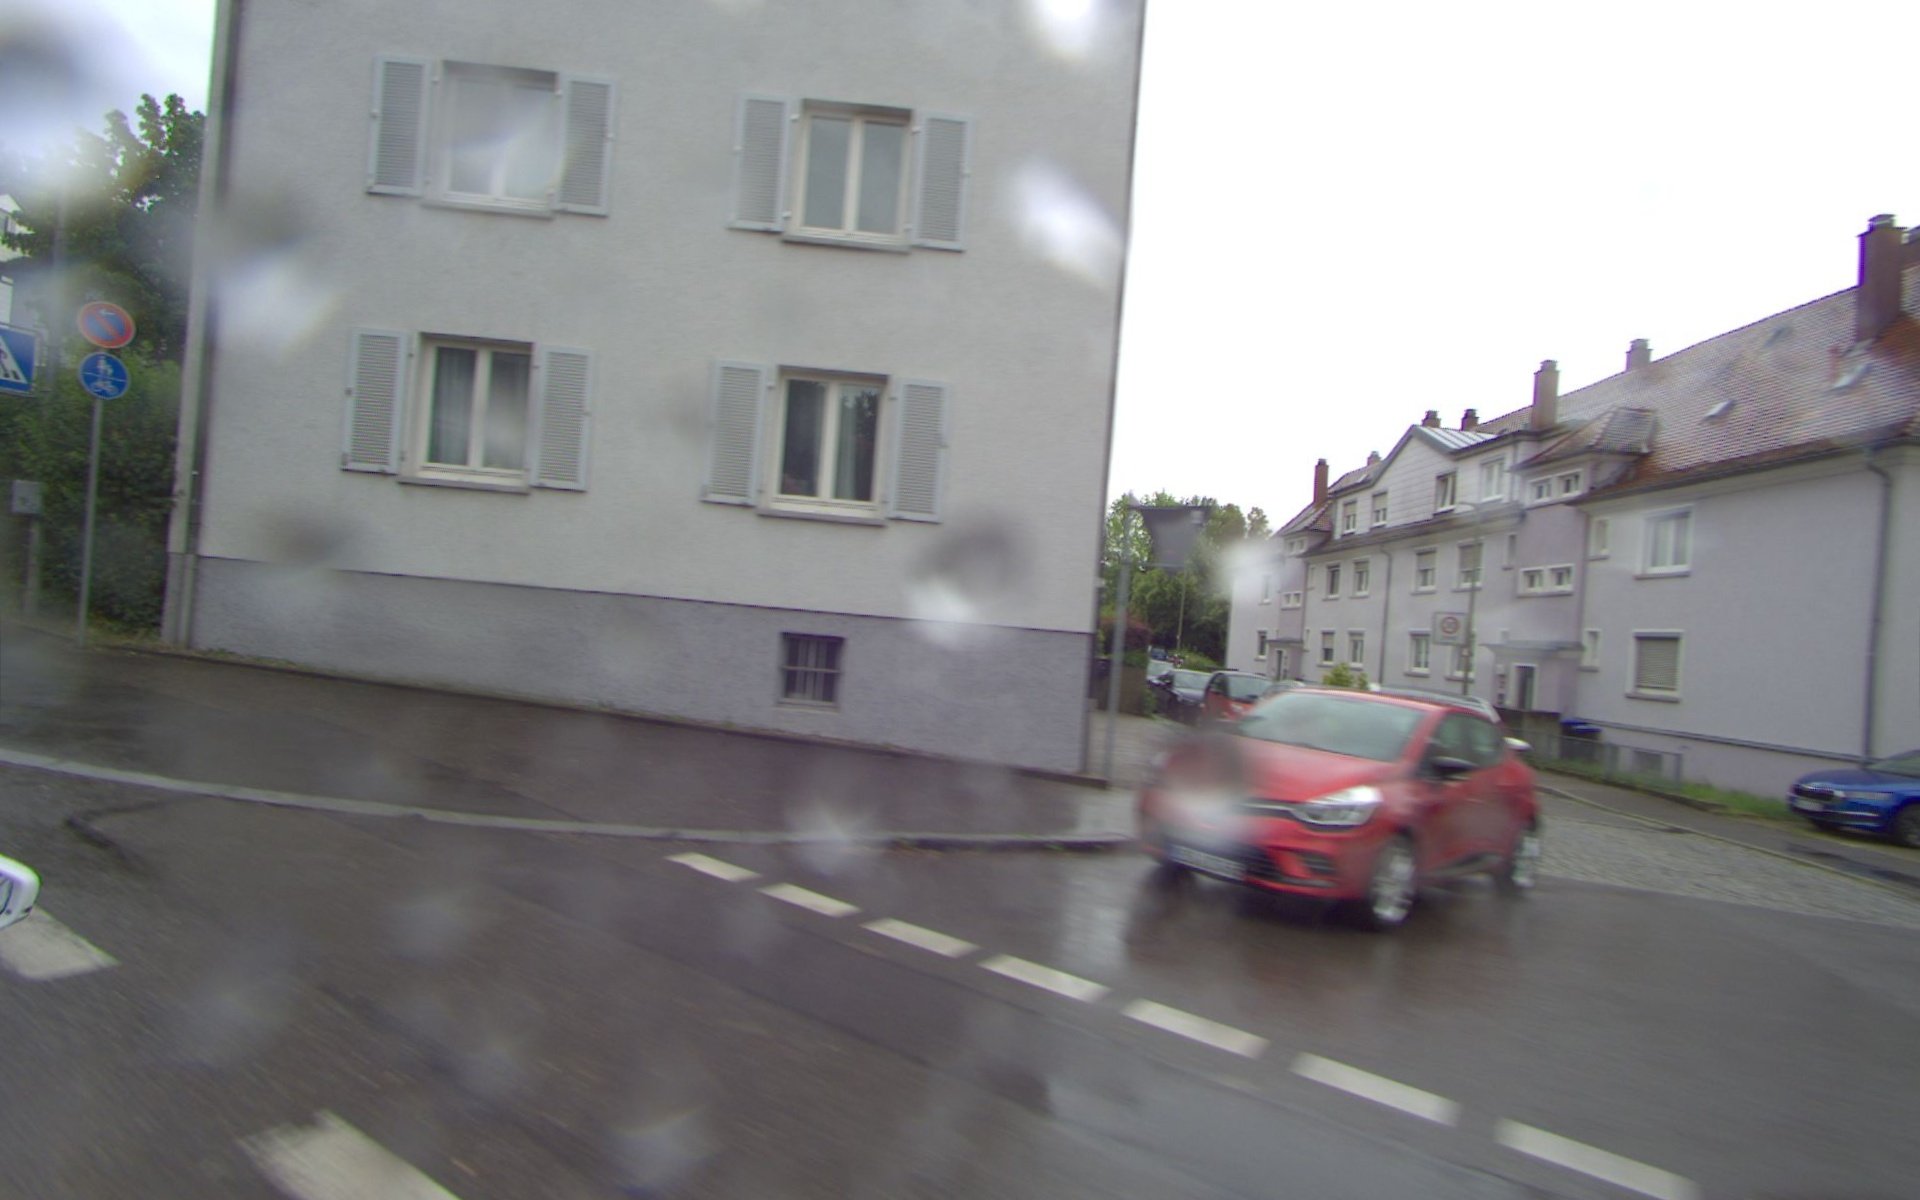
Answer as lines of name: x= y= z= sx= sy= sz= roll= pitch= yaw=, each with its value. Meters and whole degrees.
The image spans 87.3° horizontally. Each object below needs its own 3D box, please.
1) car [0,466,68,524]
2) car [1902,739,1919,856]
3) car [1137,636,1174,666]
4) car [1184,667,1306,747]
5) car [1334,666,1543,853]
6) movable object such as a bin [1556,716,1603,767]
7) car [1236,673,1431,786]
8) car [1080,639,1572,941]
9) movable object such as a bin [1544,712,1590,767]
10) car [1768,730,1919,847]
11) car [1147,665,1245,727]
car: x=-28.594 y=-3.212 z=29.097 sx=1.764 sy=1.448 sz=3.711 roll=5 pitch=-1 yaw=24
car: x=14.423 y=2.758 z=12.526 sx=3.612 sy=1.517 sz=1.726 roll=6 pitch=-2 yaw=3
car: x=13.469 y=3.520 z=69.532 sx=1.692 sy=1.807 sz=4.244 roll=8 pitch=-2 yaw=2
car: x=6.394 y=2.366 z=22.930 sx=1.641 sy=1.349 sz=3.434 roll=9 pitch=-2 yaw=0
car: x=5.598 y=1.790 z=12.271 sx=1.692 sy=1.607 sz=4.245 roll=8 pitch=-2 yaw=20
movable object such as a bin: x=14.986 y=3.416 z=24.333 sx=0.634 sy=1.081 sz=0.591 roll=8 pitch=-1 yaw=0
car: x=6.385 y=2.164 z=17.744 sx=1.693 sy=1.380 sz=4.243 roll=9 pitch=-2 yaw=0
car: x=2.884 y=1.307 z=7.374 sx=1.702 sy=1.423 sz=4.074 roll=7 pitch=-3 yaw=45
movable object such as a bin: x=14.990 y=3.433 z=24.860 sx=0.634 sy=1.203 sz=0.591 roll=8 pitch=-1 yaw=0
car: x=14.838 y=2.932 z=15.052 sx=4.017 sy=1.424 sz=1.725 roll=6 pitch=-2 yaw=0
car: x=6.220 y=2.501 z=26.847 sx=1.641 sy=1.230 sz=3.434 roll=9 pitch=-2 yaw=0
